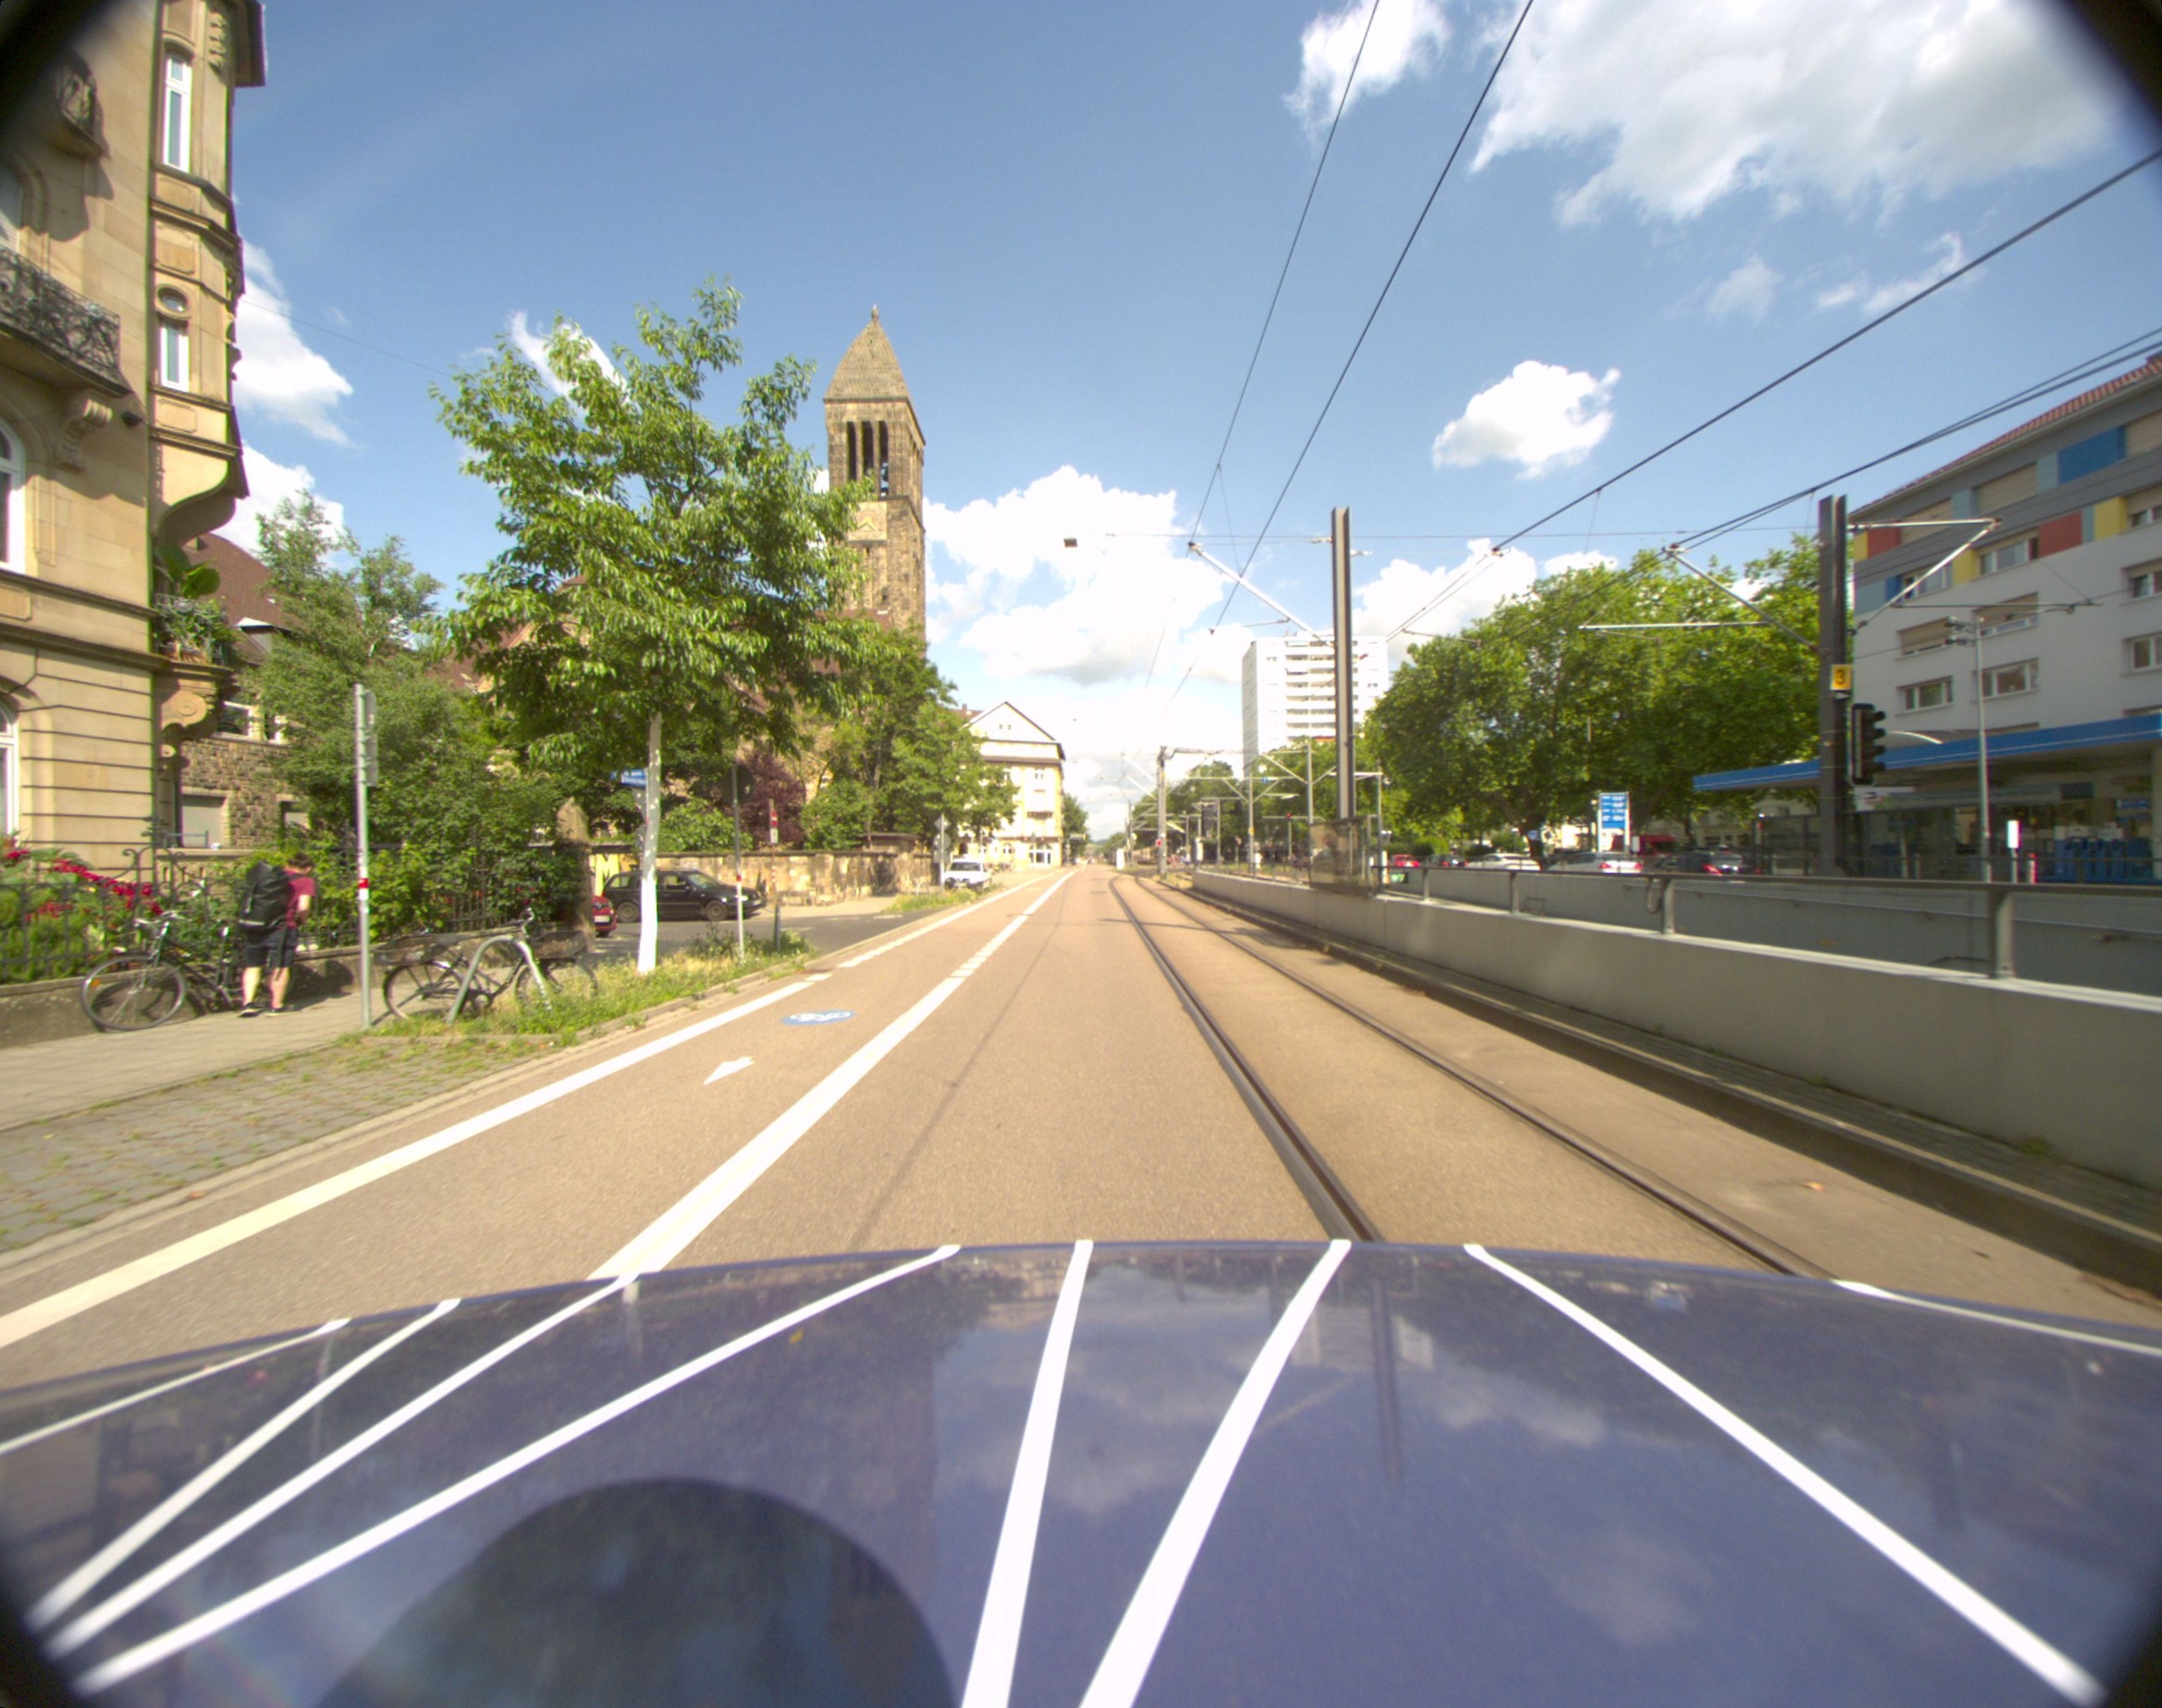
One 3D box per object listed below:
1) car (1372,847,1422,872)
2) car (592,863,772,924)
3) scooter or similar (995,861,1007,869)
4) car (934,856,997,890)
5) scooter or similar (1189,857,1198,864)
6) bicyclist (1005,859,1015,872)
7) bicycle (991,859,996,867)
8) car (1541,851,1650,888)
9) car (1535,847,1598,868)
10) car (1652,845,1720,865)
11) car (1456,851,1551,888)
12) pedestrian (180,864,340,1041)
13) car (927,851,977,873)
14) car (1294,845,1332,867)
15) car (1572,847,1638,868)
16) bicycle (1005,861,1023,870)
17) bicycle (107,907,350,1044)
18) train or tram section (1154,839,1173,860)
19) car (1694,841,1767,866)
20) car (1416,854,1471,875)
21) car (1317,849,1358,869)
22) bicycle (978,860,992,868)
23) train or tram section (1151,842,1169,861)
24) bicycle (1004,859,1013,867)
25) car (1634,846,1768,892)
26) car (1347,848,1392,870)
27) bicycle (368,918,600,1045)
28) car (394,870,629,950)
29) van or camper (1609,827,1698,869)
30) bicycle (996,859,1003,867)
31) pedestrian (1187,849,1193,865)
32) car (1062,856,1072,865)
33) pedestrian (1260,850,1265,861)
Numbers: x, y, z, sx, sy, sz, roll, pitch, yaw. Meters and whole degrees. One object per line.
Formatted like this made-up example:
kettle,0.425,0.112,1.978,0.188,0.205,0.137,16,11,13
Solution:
car,21.531,0.416,51.974,1.716,1.597,4.145,-1,-2,1
car,-11.537,1.124,22.181,4.263,1.547,1.756,-1,3,-1
scooter or similar,-9.534,1.344,90.331,1.133,0.971,0.888,-1,0,-29
car,-5.140,0.816,34.292,1.671,1.408,3.847,-3,-1,9
scooter or similar,12.446,0.732,83.835,0.840,0.799,0.553,-1,0,-4
bicyclist,-8.471,1.364,91.064,0.923,1.494,0.651,-1,-3,-29
bicycle,-11.836,1.278,103.125,0.540,1.013,1.926,0,2,-10
car,21.269,0.605,31.646,1.726,1.408,4.406,0,0,2
car,33.074,0.235,51.919,1.757,1.402,4.000,0,0,0
car,41.496,0.079,52.238,1.477,1.286,4.000,2,0,0
car,21.428,0.802,38.789,1.952,1.597,5.078,-5,-1,1
pedestrian,-7.980,0.921,7.422,0.725,1.619,0.725,-1,1,1
car,-11.147,0.719,65.959,4.013,1.813,1.863,-1,0,-2
car,22.346,0.215,73.511,2.080,1.974,5.337,-1,-2,1
car,35.806,0.239,52.033,1.757,1.402,4.000,0,0,0
bicycle,-8.032,1.376,91.190,2.138,0.983,0.651,-1,0,-31
bicycle,-8.479,1.156,7.680,0.471,1.102,1.711,-1,0,1
train or tram section,14.704,-0.709,136.051,2.802,3.540,11.379,-1,0,3
car,44.170,-0.019,51.774,1.530,1.594,4.000,1,0,0
car,21.630,0.608,45.478,1.620,1.182,3.634,-1,0,2
car,22.337,0.430,66.421,1.871,1.642,5.154,1,0,1
bicycle,-12.744,1.356,100.990,1.932,1.013,0.538,-2,3,-41
train or tram section,15.273,-0.427,147.291,2.812,3.540,11.184,-1,0,3
bicycle,-10.043,1.226,105.008,0.611,1.013,1.872,-1,2,-27
car,20.544,0.472,25.378,1.672,1.408,3.784,-1,0,6
car,22.258,0.379,58.757,1.764,1.597,4.679,-1,0,0
bicycle,-5.559,1.174,7.137,1.711,1.063,0.471,-1,1,-5
car,-12.064,1.157,16.250,3.750,1.546,1.757,-1,0,4
van or camper,38.643,-0.375,51.493,2.107,2.626,5.350,2,0,2
bicycle,-11.051,1.266,103.128,0.602,1.013,1.876,0,2,2
pedestrian,11.978,0.324,83.804,0.528,1.722,0.557,1,0,-4
car,-2.793,1.303,149.700,1.851,1.779,4.000,2,0,0
pedestrian,29.196,0.263,122.195,0.671,1.693,0.648,-1,0,3
